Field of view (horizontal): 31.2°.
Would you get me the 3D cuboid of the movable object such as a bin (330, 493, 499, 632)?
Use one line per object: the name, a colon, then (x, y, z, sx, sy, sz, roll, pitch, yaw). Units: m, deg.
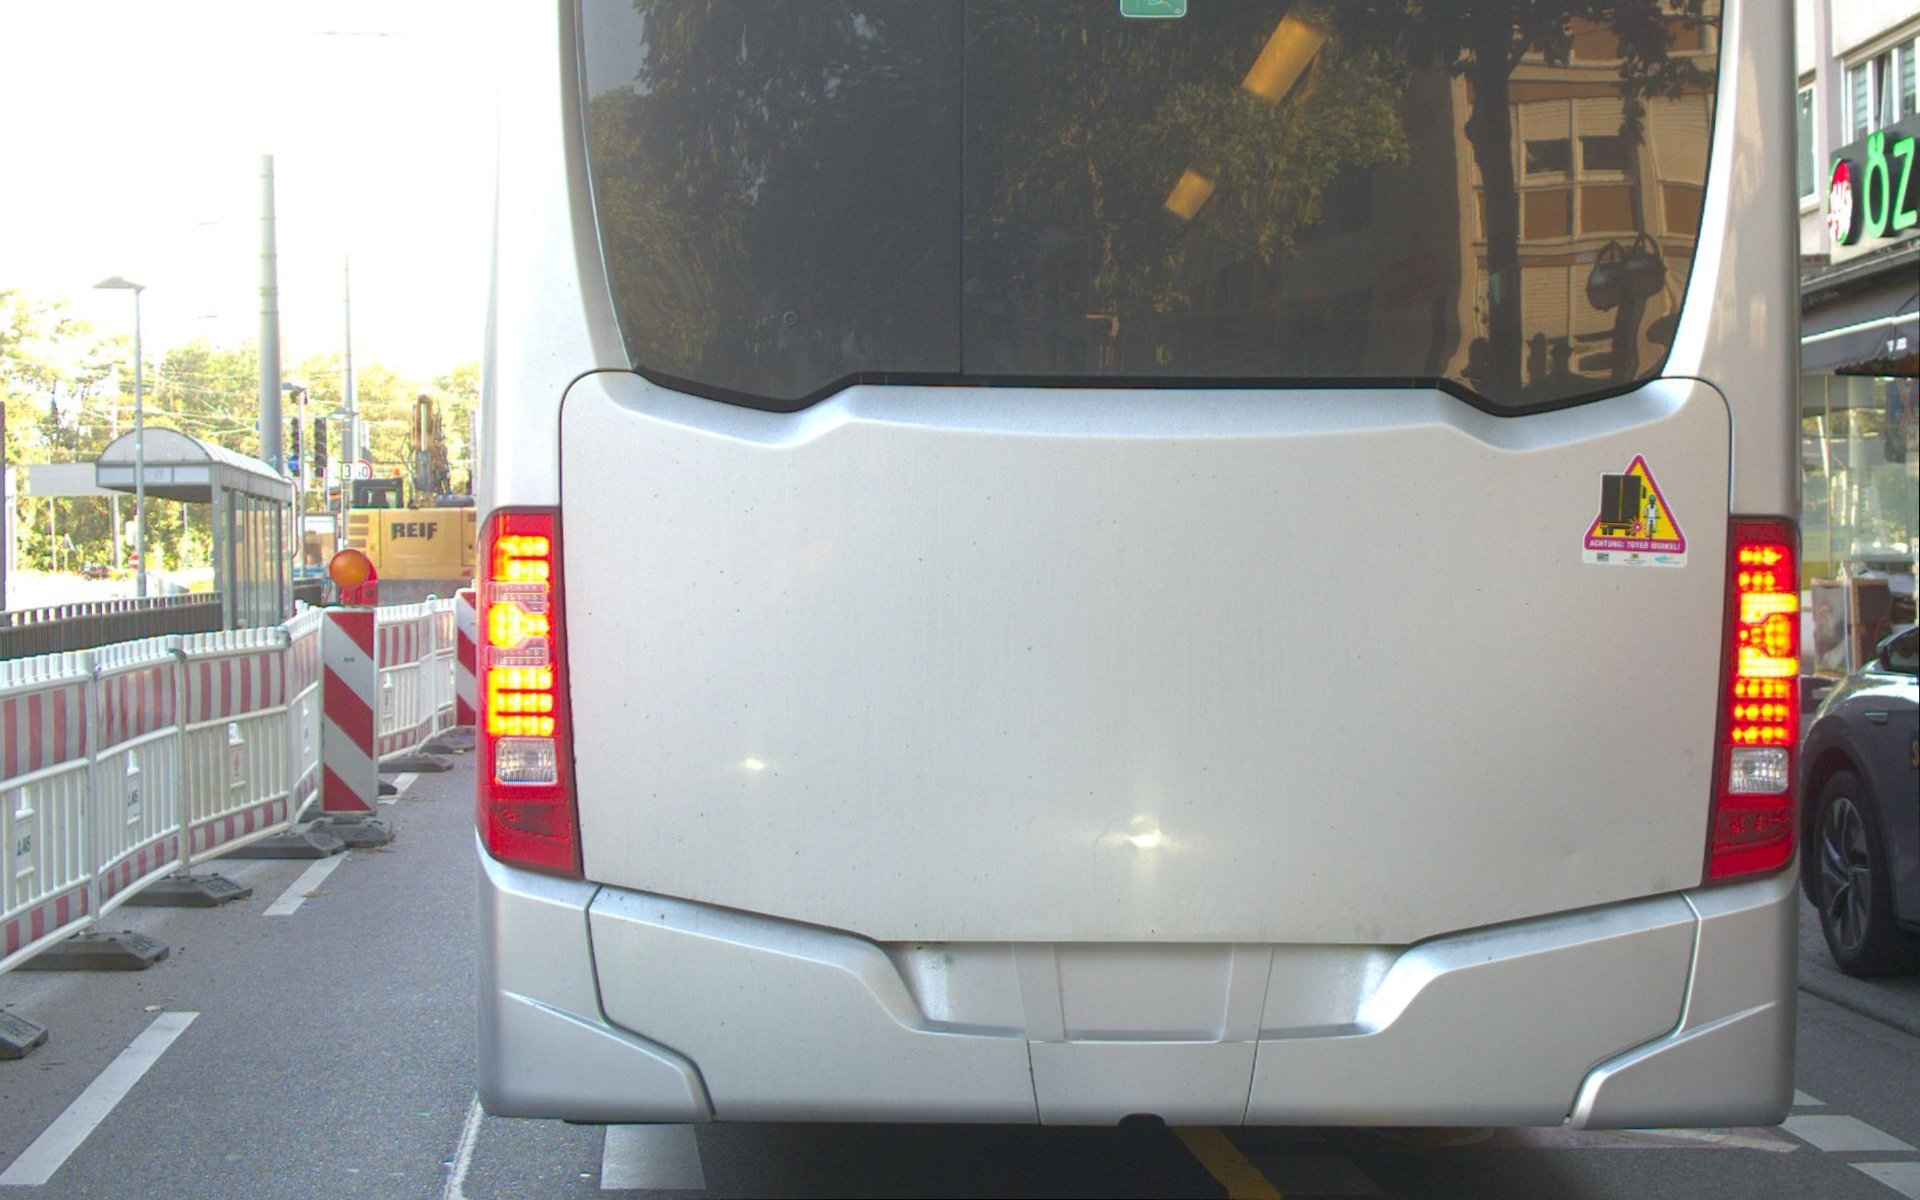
movable object such as a bin: (-10.052, -0.702, 63.678, 2.806, 2.453, 4.001, -1, 1, -5)

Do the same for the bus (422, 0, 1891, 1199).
bus: (0.310, -0.287, 11.259, 2.608, 3.159, 10.292, 0, 1, 0)

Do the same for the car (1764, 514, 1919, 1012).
car: (3.989, 0.497, 10.310, 1.739, 1.592, 4.300, -3, 1, -5)
